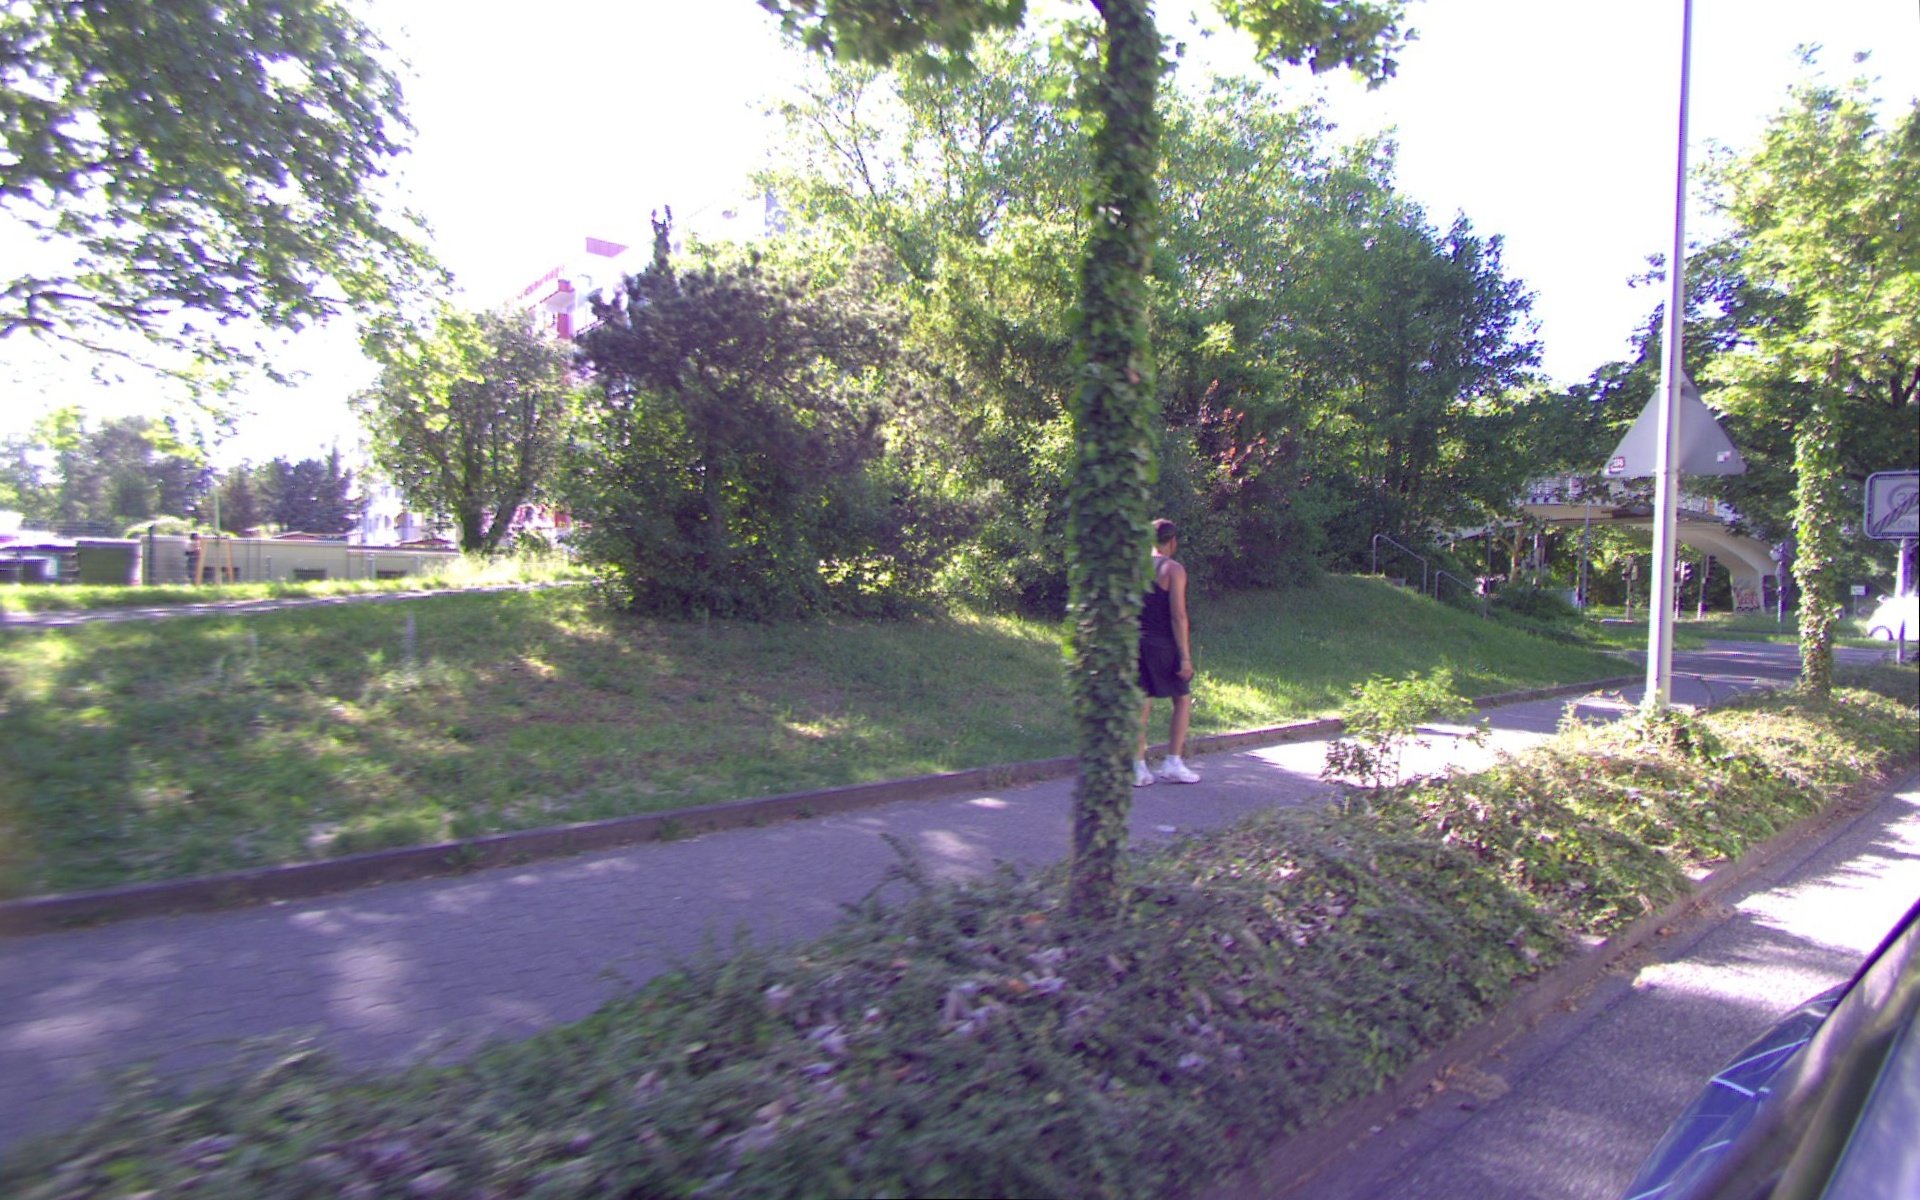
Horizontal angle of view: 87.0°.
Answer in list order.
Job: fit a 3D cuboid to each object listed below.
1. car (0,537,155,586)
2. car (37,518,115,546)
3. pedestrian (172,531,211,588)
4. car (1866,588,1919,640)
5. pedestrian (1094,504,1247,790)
[{"bbox_3d":[-25.715,-1.083,29.224,3.791,1.310,1.540,-1,0,-42],"label":"car"},{"bbox_3d":[-61.070,-4.695,70.017,3.926,1.644,1.998,0,-1,-38],"label":"car"},{"bbox_3d":[-21.950,-1.152,28.911,0.619,1.608,0.676,-1,0,20],"label":"pedestrian"},{"bbox_3d":[32.010,0.449,32.303,1.684,1.667,4.343,0,0,-16],"label":"car"},{"bbox_3d":[1.465,0.295,7.070,0.659,1.855,0.792,0,1,-40],"label":"pedestrian"}]
